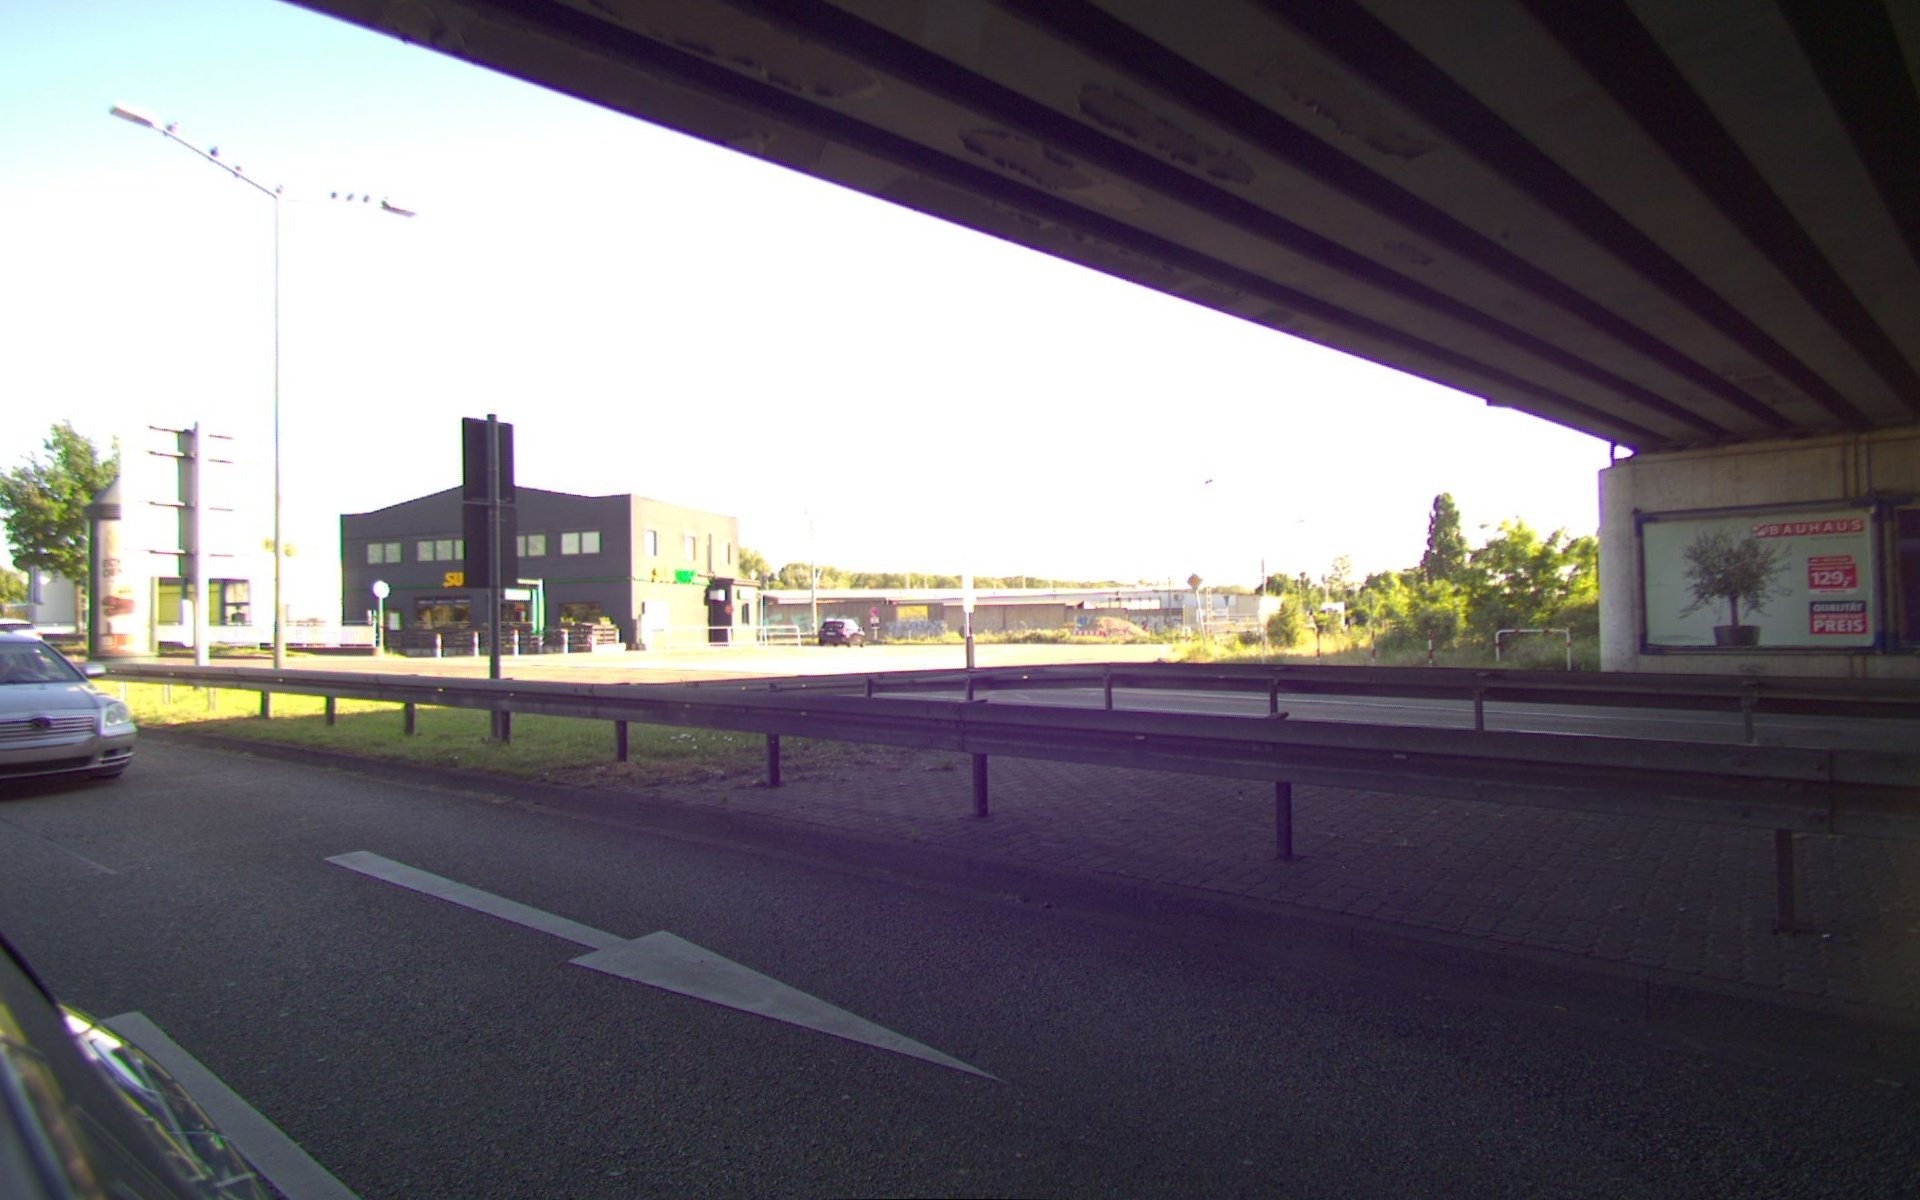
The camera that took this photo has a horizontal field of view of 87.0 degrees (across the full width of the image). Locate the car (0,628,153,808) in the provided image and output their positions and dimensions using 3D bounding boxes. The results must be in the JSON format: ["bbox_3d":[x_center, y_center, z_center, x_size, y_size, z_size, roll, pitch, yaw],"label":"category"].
[{"bbox_3d":[-9.857,1.065,9.841,4.381,1.466,1.684,-2,0,31],"label":"car"}]

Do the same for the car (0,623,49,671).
[{"bbox_3d":[-35.048,1.680,36.330,4.266,1.619,1.793,-1,-1,22],"label":"car"}]

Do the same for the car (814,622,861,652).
[{"bbox_3d":[-6.589,1.974,54.770,1.859,1.453,3.996,-1,0,3],"label":"car"}]
